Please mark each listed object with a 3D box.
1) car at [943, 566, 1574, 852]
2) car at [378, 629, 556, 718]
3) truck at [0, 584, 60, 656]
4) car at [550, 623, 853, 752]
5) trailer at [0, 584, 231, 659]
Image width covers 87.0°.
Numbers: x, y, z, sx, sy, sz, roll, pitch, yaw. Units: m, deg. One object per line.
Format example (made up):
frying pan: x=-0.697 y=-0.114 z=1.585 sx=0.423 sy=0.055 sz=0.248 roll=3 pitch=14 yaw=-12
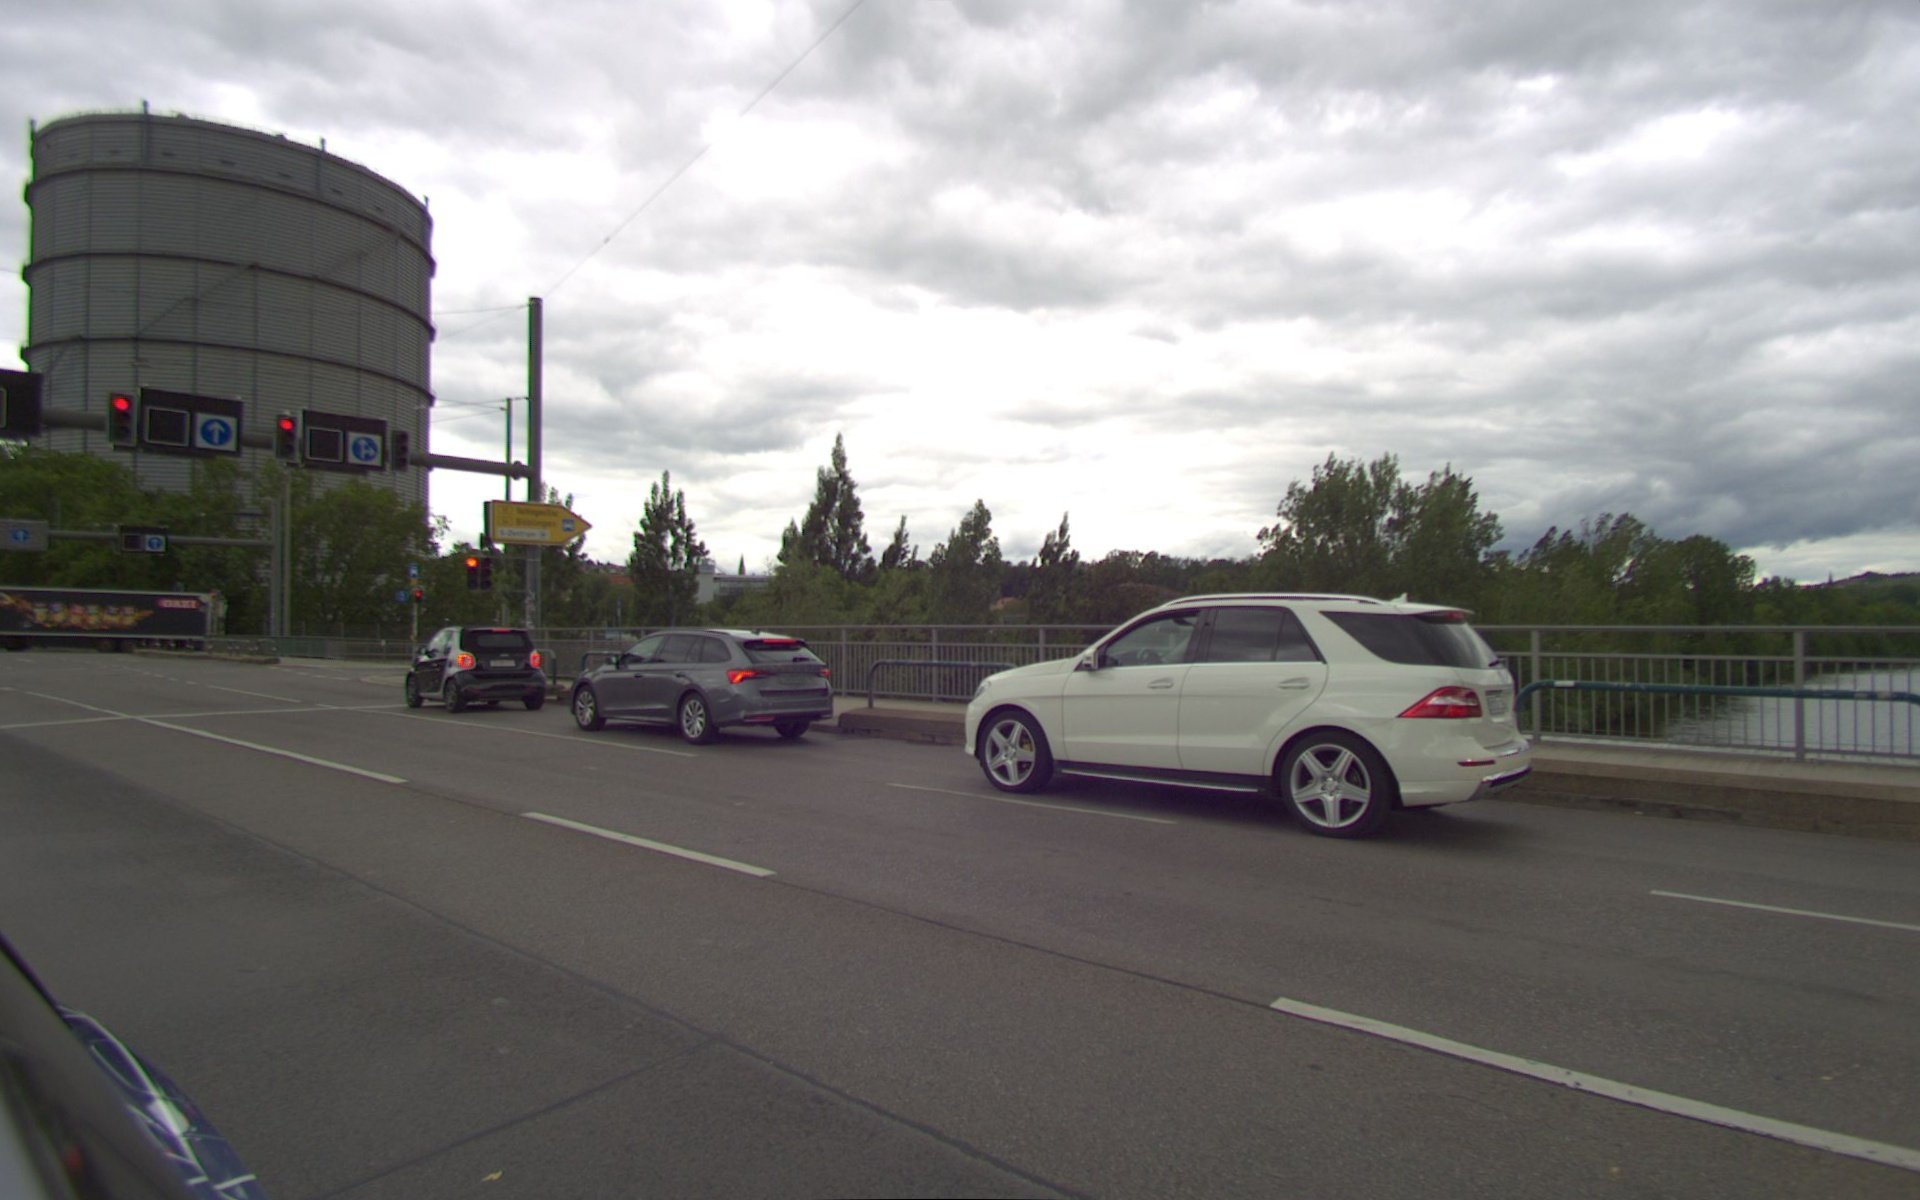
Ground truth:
car: x=2.261 y=0.753 z=8.585 sx=4.799 sy=1.774 sz=1.860 roll=-2 pitch=-3 yaw=41
car: x=-9.457 y=1.329 z=19.301 sx=3.872 sy=1.516 sz=1.815 roll=-2 pitch=-3 yaw=44
truck: x=-61.571 y=1.256 z=63.080 sx=7.122 sy=4.355 sz=3.676 roll=2 pitch=-4 yaw=-7
car: x=-3.711 y=1.102 z=14.095 sx=4.513 sy=1.516 sz=1.816 roll=-2 pitch=-3 yaw=41
trailer: x=-55.745 y=1.494 z=65.235 sx=13.542 sy=4.355 sz=3.683 roll=3 pitch=-4 yaw=-22
